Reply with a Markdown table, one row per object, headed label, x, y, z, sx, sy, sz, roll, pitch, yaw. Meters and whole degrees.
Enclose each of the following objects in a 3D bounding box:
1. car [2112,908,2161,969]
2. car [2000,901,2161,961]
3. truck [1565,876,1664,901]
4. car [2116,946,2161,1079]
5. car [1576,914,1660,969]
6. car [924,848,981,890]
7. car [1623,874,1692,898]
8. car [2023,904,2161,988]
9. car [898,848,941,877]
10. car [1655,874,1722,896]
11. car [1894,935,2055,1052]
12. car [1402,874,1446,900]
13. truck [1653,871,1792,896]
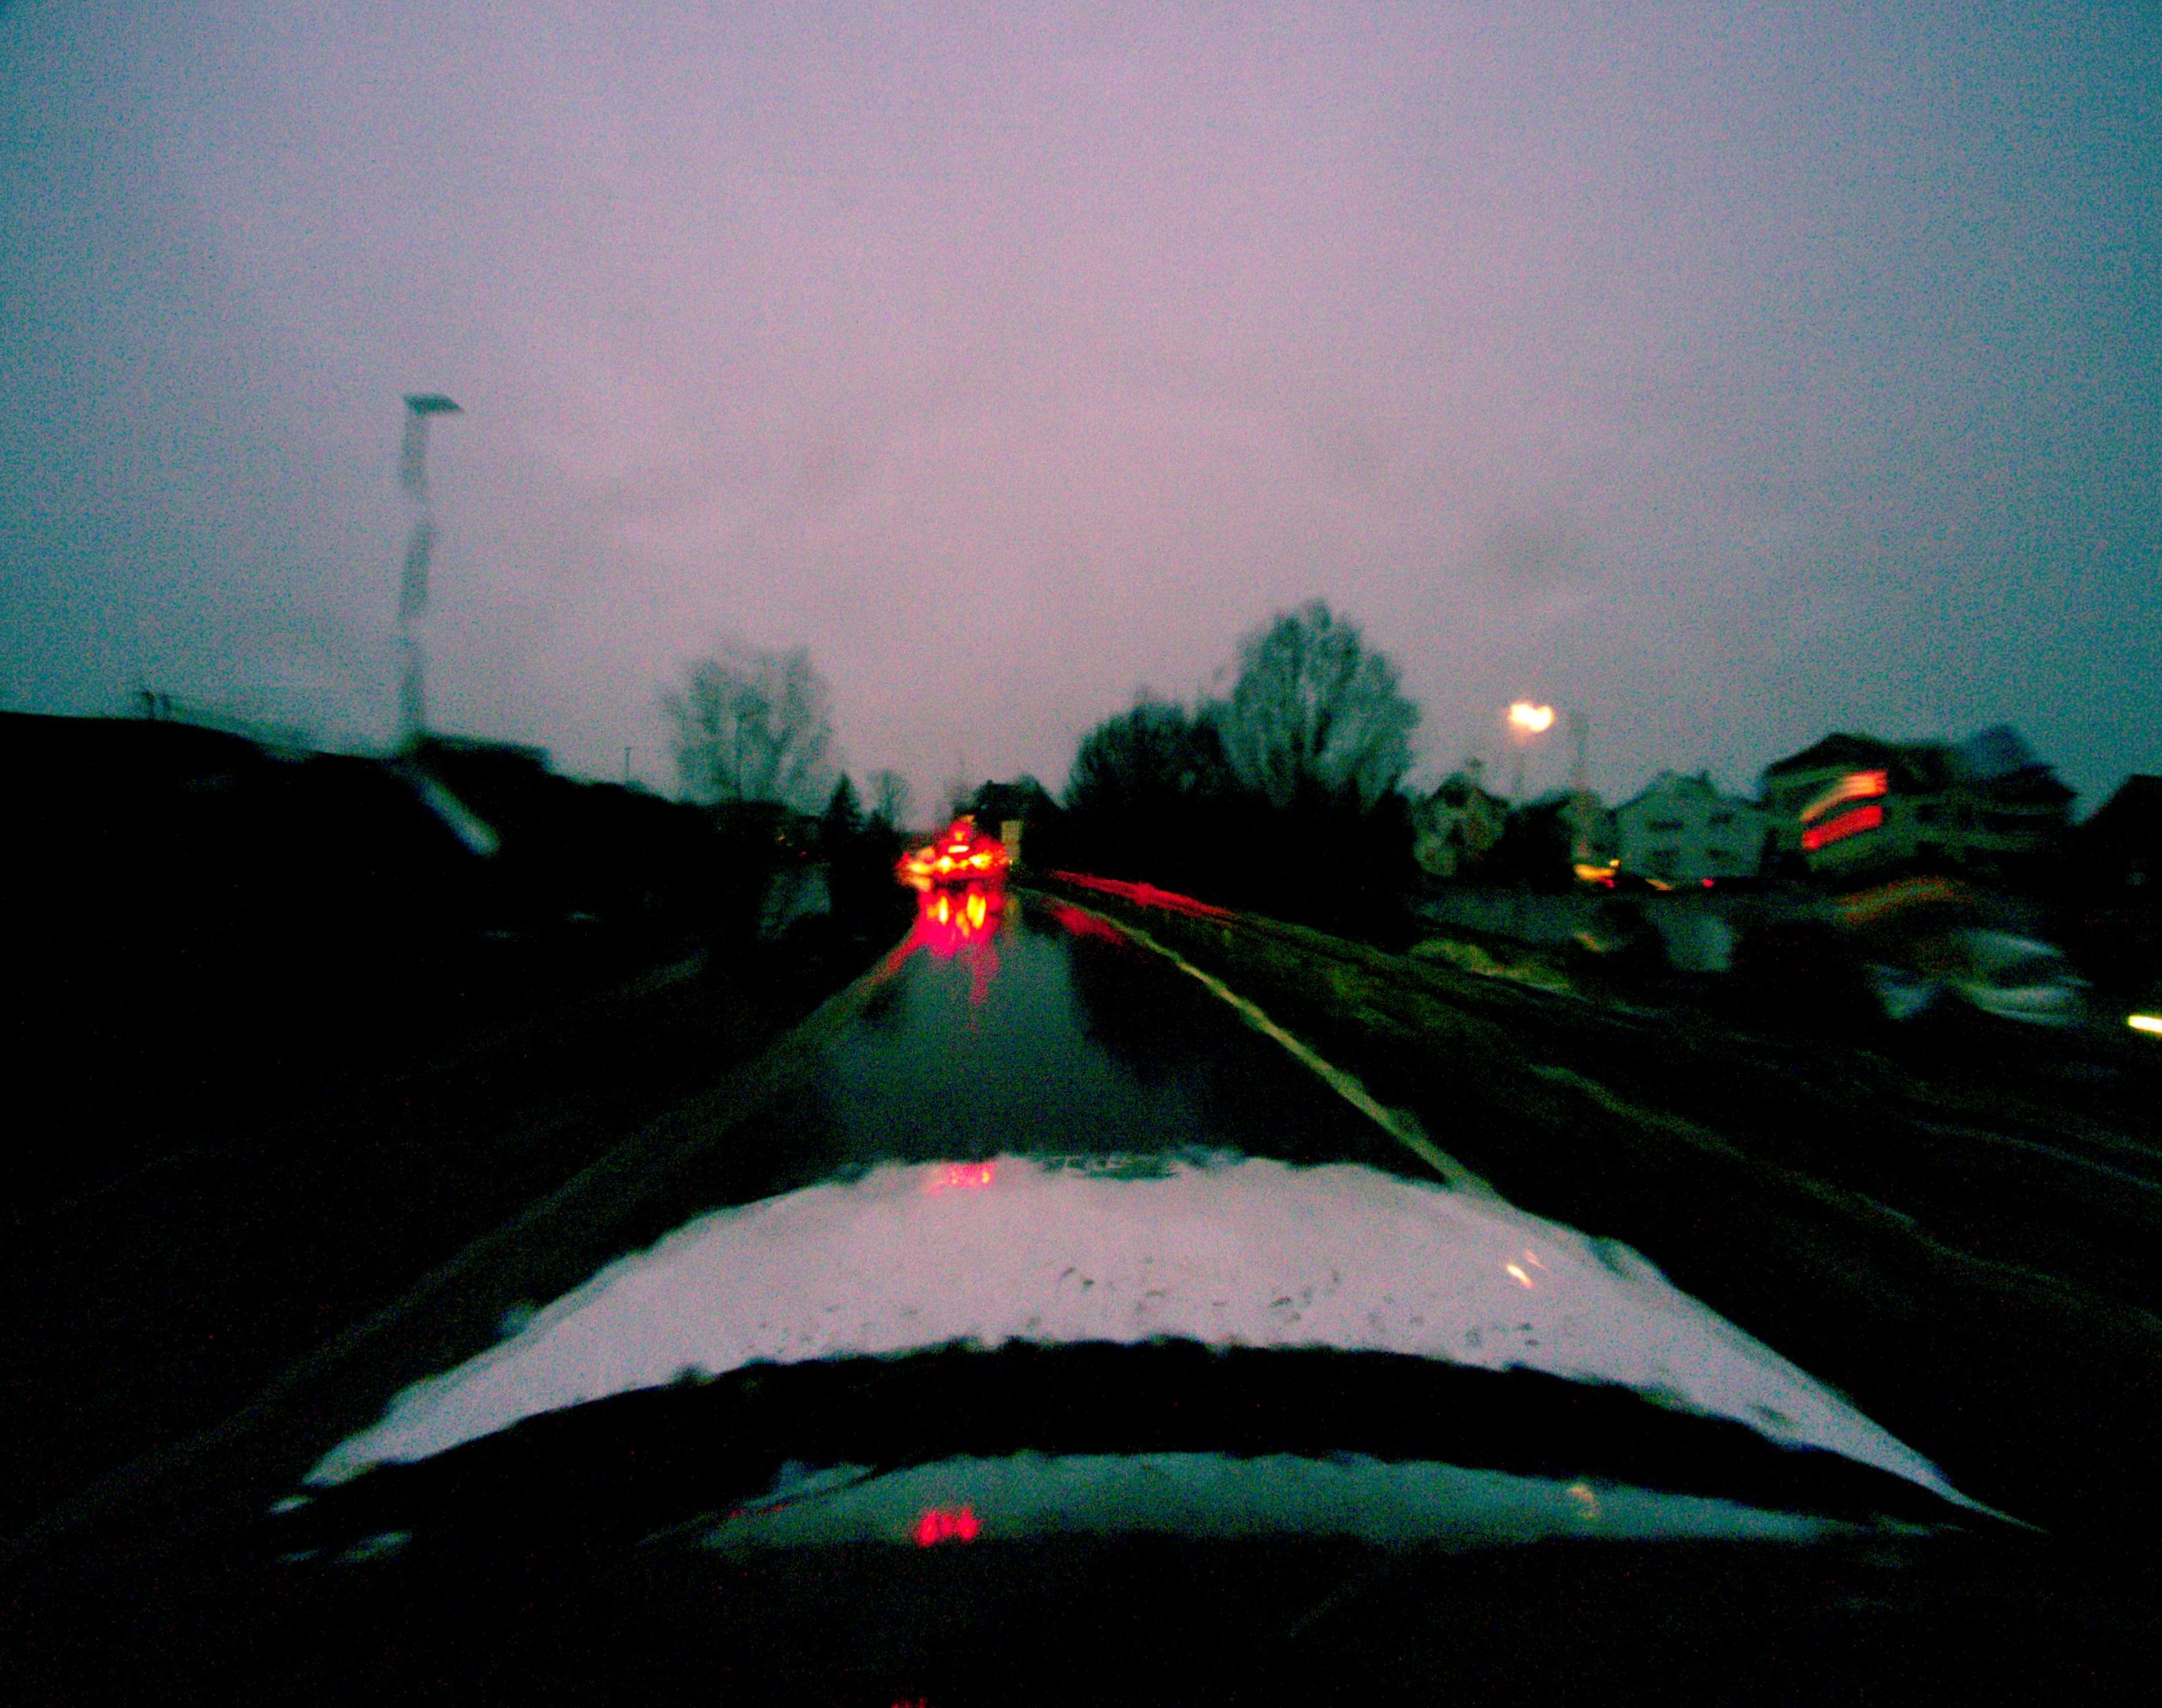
| label | x | y | z | sx | sy | sz | roll | pitch | yaw |
| --- | --- | --- | --- | --- | --- | --- | --- | --- | --- |
| car | 31.704 | 2.437 | 22.587 | 1.630 | 1.607 | 3.797 | 0 | 0 | -36 |
| car | 32.241 | 2.410 | 26.007 | 1.577 | 1.612 | 3.794 | 0 | 0 | -41 |
| truck | 37.536 | 2.399 | 57.474 | 5.714 | 1.547 | 1.955 | -1 | 0 | 33 |
| car | 16.164 | 2.233 | 11.564 | 4.021 | 1.420 | 1.612 | 0 | 0 | -41 |
| car | 16.304 | 2.596 | 24.689 | 3.227 | 1.313 | 1.374 | -1 | 0 | -43 |
| car | -5.670 | 0.622 | 35.506 | 1.949 | 1.718 | 3.978 | 1 | -1 | -16 |
| car | 41.400 | 2.266 | 58.589 | 3.948 | 1.661 | 1.955 | -1 | 0 | 33 |
| car | 26.850 | 2.328 | 20.555 | 1.732 | 1.868 | 3.988 | 0 | 0 | -41 |
| car | -10.310 | 0.502 | 51.721 | 2.169 | 1.689 | 4.545 | 0 | 1 | -18 |
| car | 45.643 | 2.315 | 61.237 | 3.948 | 1.515 | 1.925 | -1 | -1 | 39 |
| car | 16.218 | 2.385 | 14.770 | 4.021 | 1.439 | 1.776 | 0 | 0 | -41 |
| car | 22.278 | 2.129 | 53.017 | 1.924 | 1.547 | 4.013 | -1 | 0 | 12 |
| truck | 50.525 | 2.301 | 64.504 | 8.552 | 1.815 | 2.430 | -1 | 0 | 35 |
